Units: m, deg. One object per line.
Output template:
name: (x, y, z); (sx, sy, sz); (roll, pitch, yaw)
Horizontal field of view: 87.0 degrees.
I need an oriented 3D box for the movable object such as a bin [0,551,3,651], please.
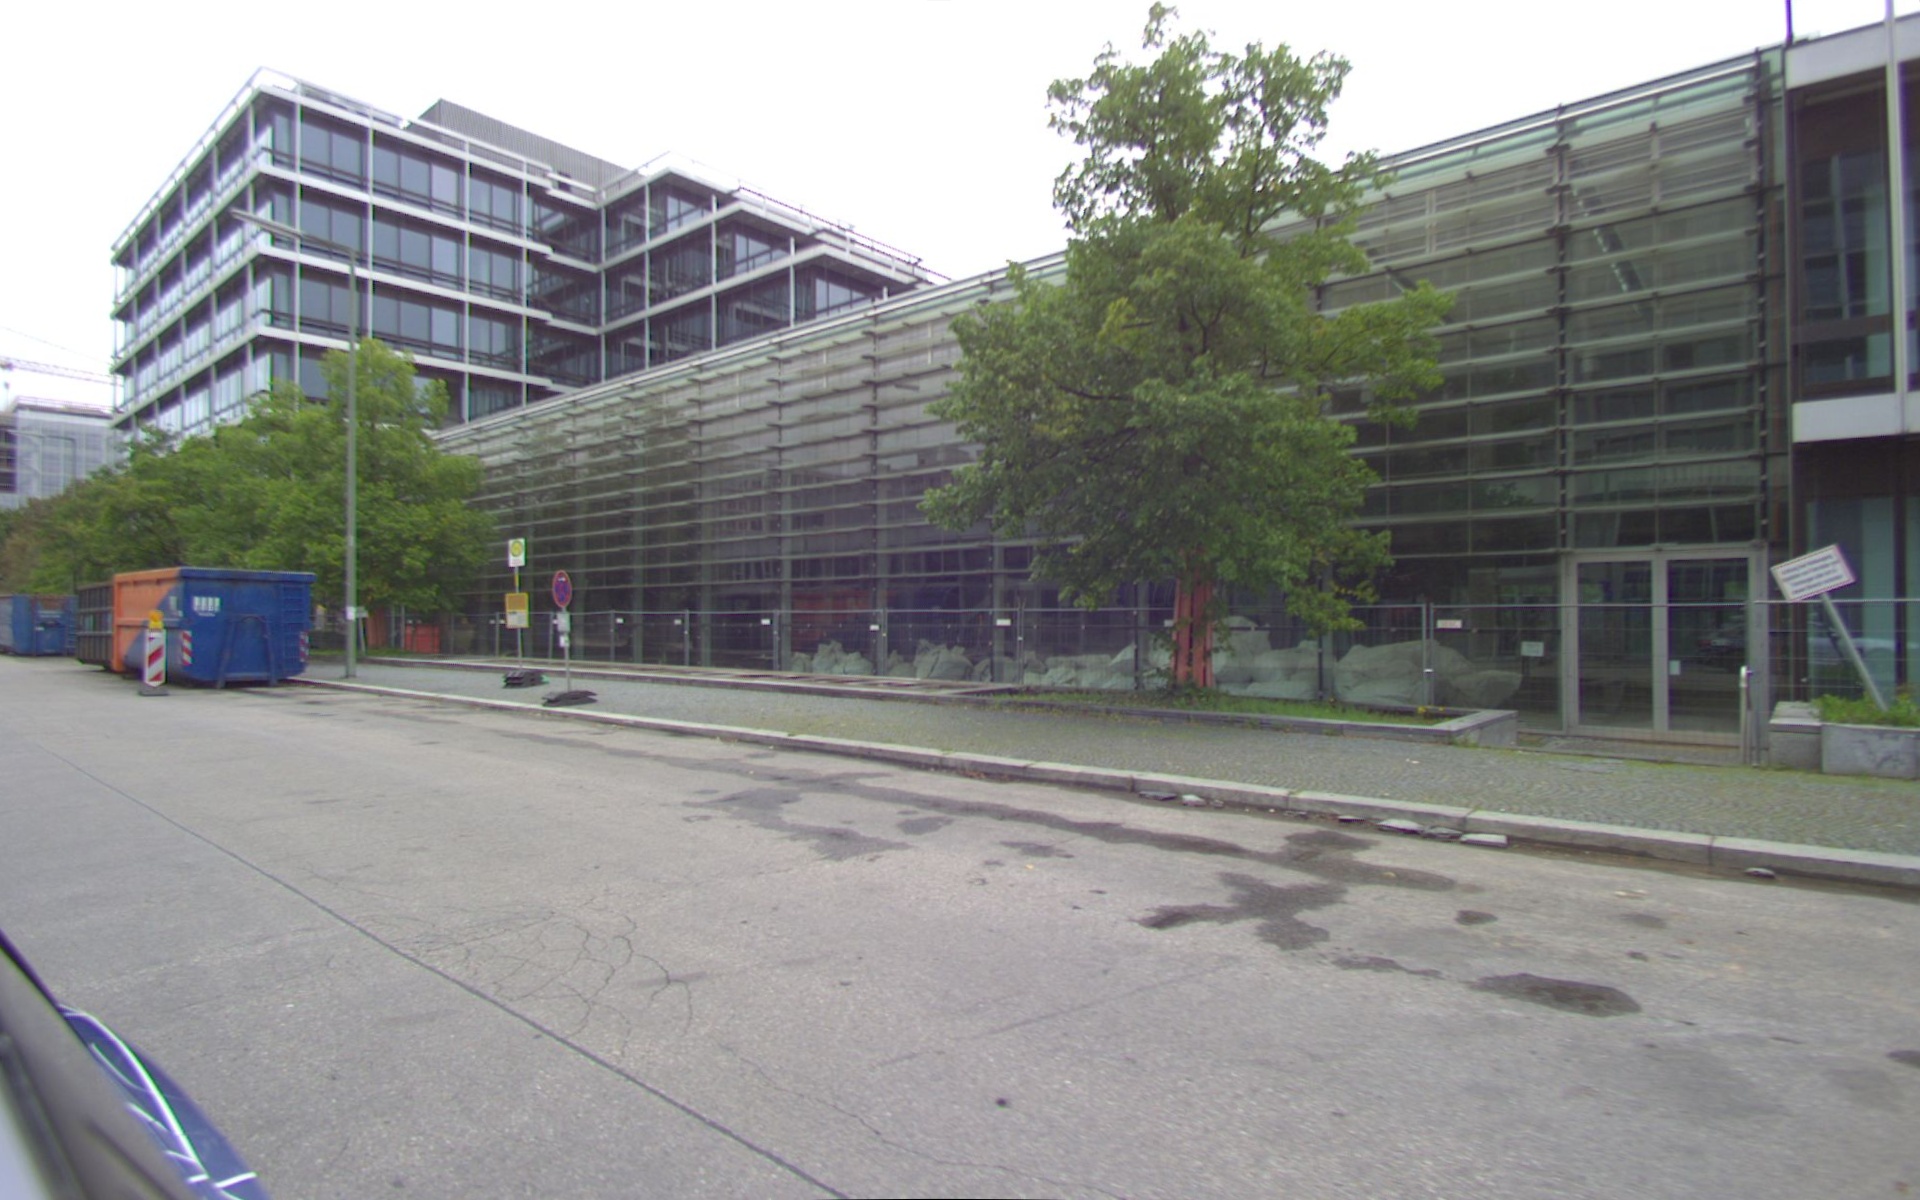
movable object such as a bin: (-65.411, 0.140, 66.440); (8.337, 6.370, 3.198); (-2, -2, 44)
